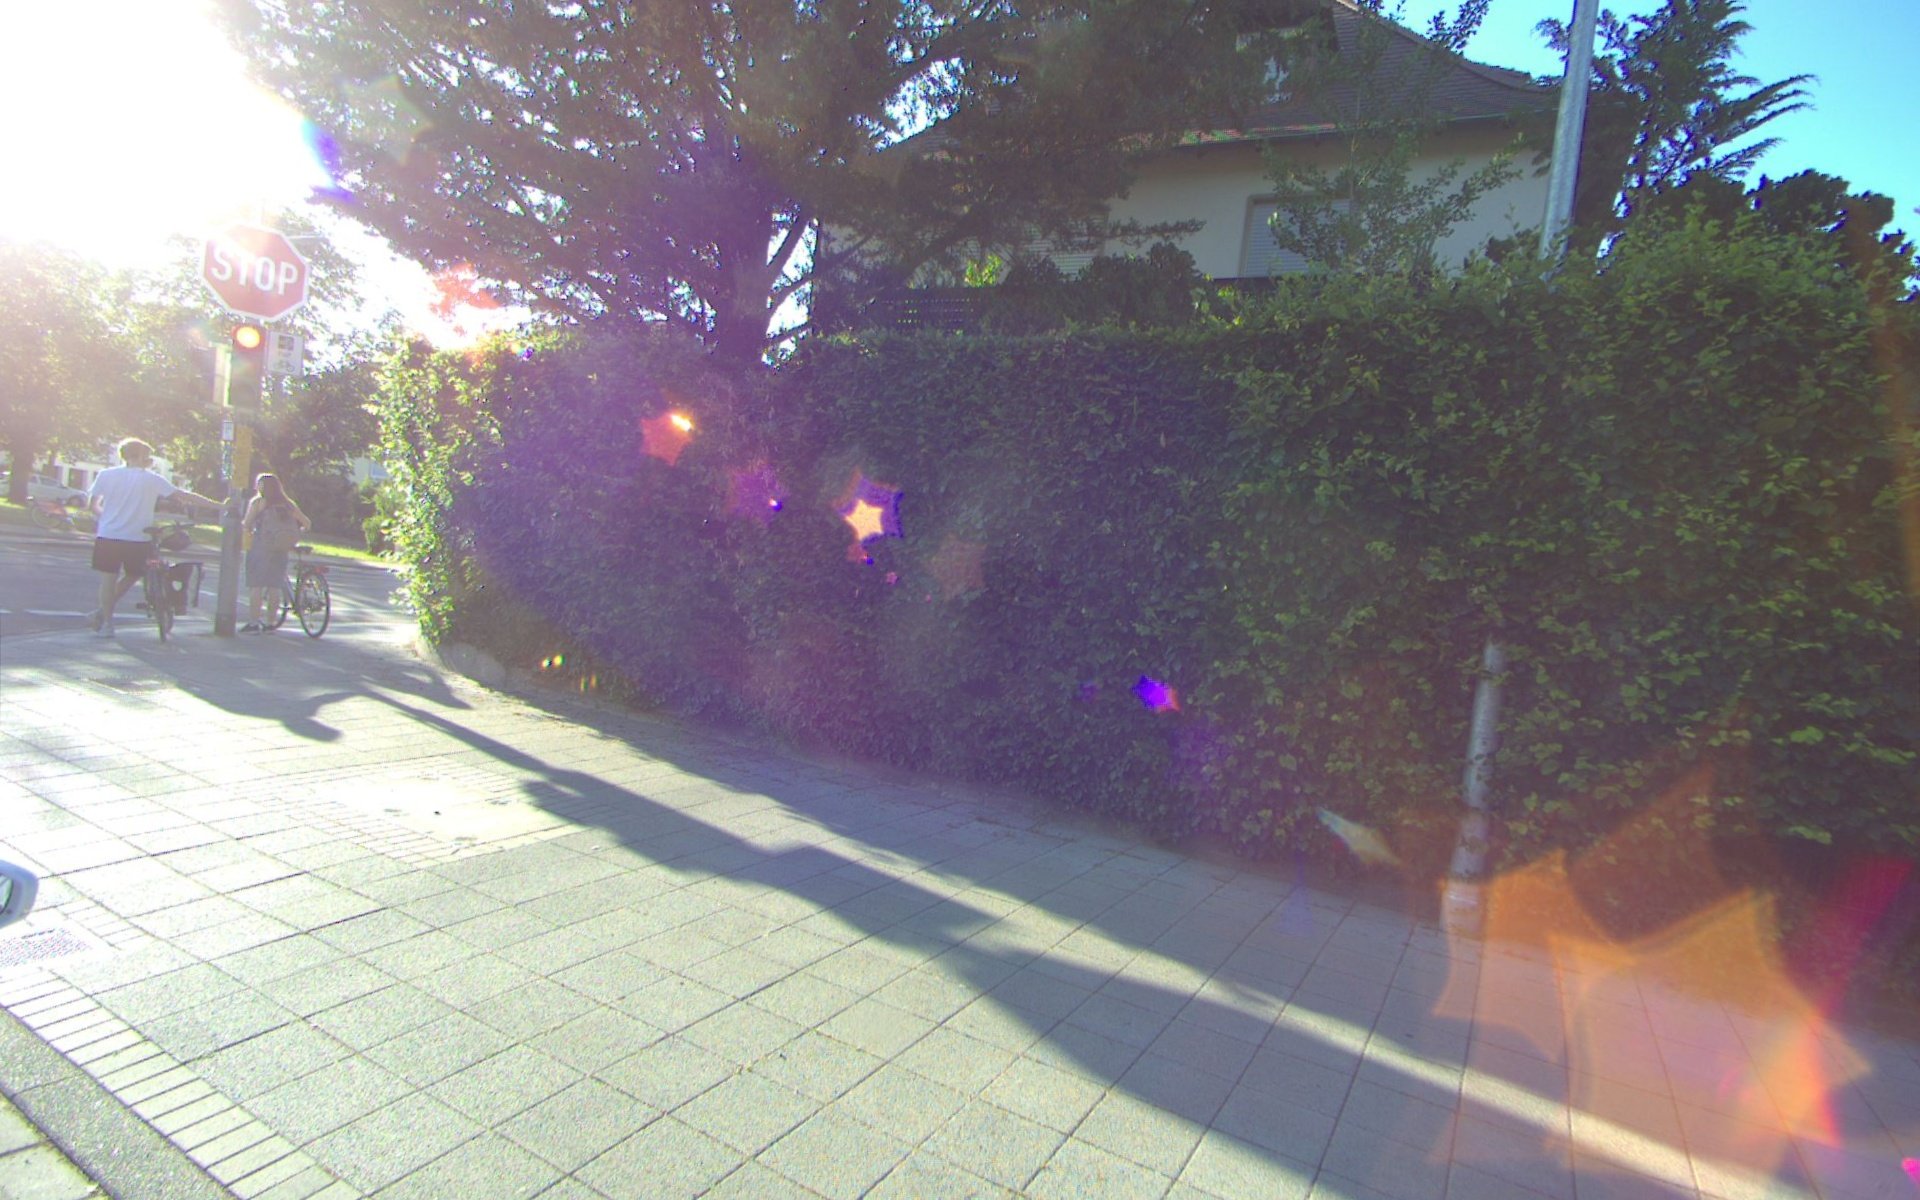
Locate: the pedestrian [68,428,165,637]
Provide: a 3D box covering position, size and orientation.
[{"bbox_3d":[-8.091,-0.634,9.663,0.666,1.892,0.871,-1,5,-41],"label":"pedestrian"}]

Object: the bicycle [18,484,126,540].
[{"bbox_3d":[-23.203,-2.286,26.317,0.609,1.146,1.956,8,1,32],"label":"bicycle"}]

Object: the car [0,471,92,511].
[{"bbox_3d":[-46.388,-5.492,50.549,1.569,1.445,3.854,7,0,26],"label":"car"}]

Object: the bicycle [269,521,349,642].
[{"bbox_3d":[-7.091,-0.225,10.922,0.484,1.158,1.579,3,4,-40],"label":"bicycle"}]

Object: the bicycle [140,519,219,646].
[{"bbox_3d":[-7.703,-0.203,9.896,0.484,1.112,1.770,3,3,-41],"label":"bicycle"}]

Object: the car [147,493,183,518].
[{"bbox_3d":[-55.234,-6.560,69.931,1.654,1.436,3.507,6,1,-36],"label":"car"}]

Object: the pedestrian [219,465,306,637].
[{"bbox_3d":[-7.366,-0.516,10.617,0.665,1.733,0.615,2,6,-40],"label":"pedestrian"}]
